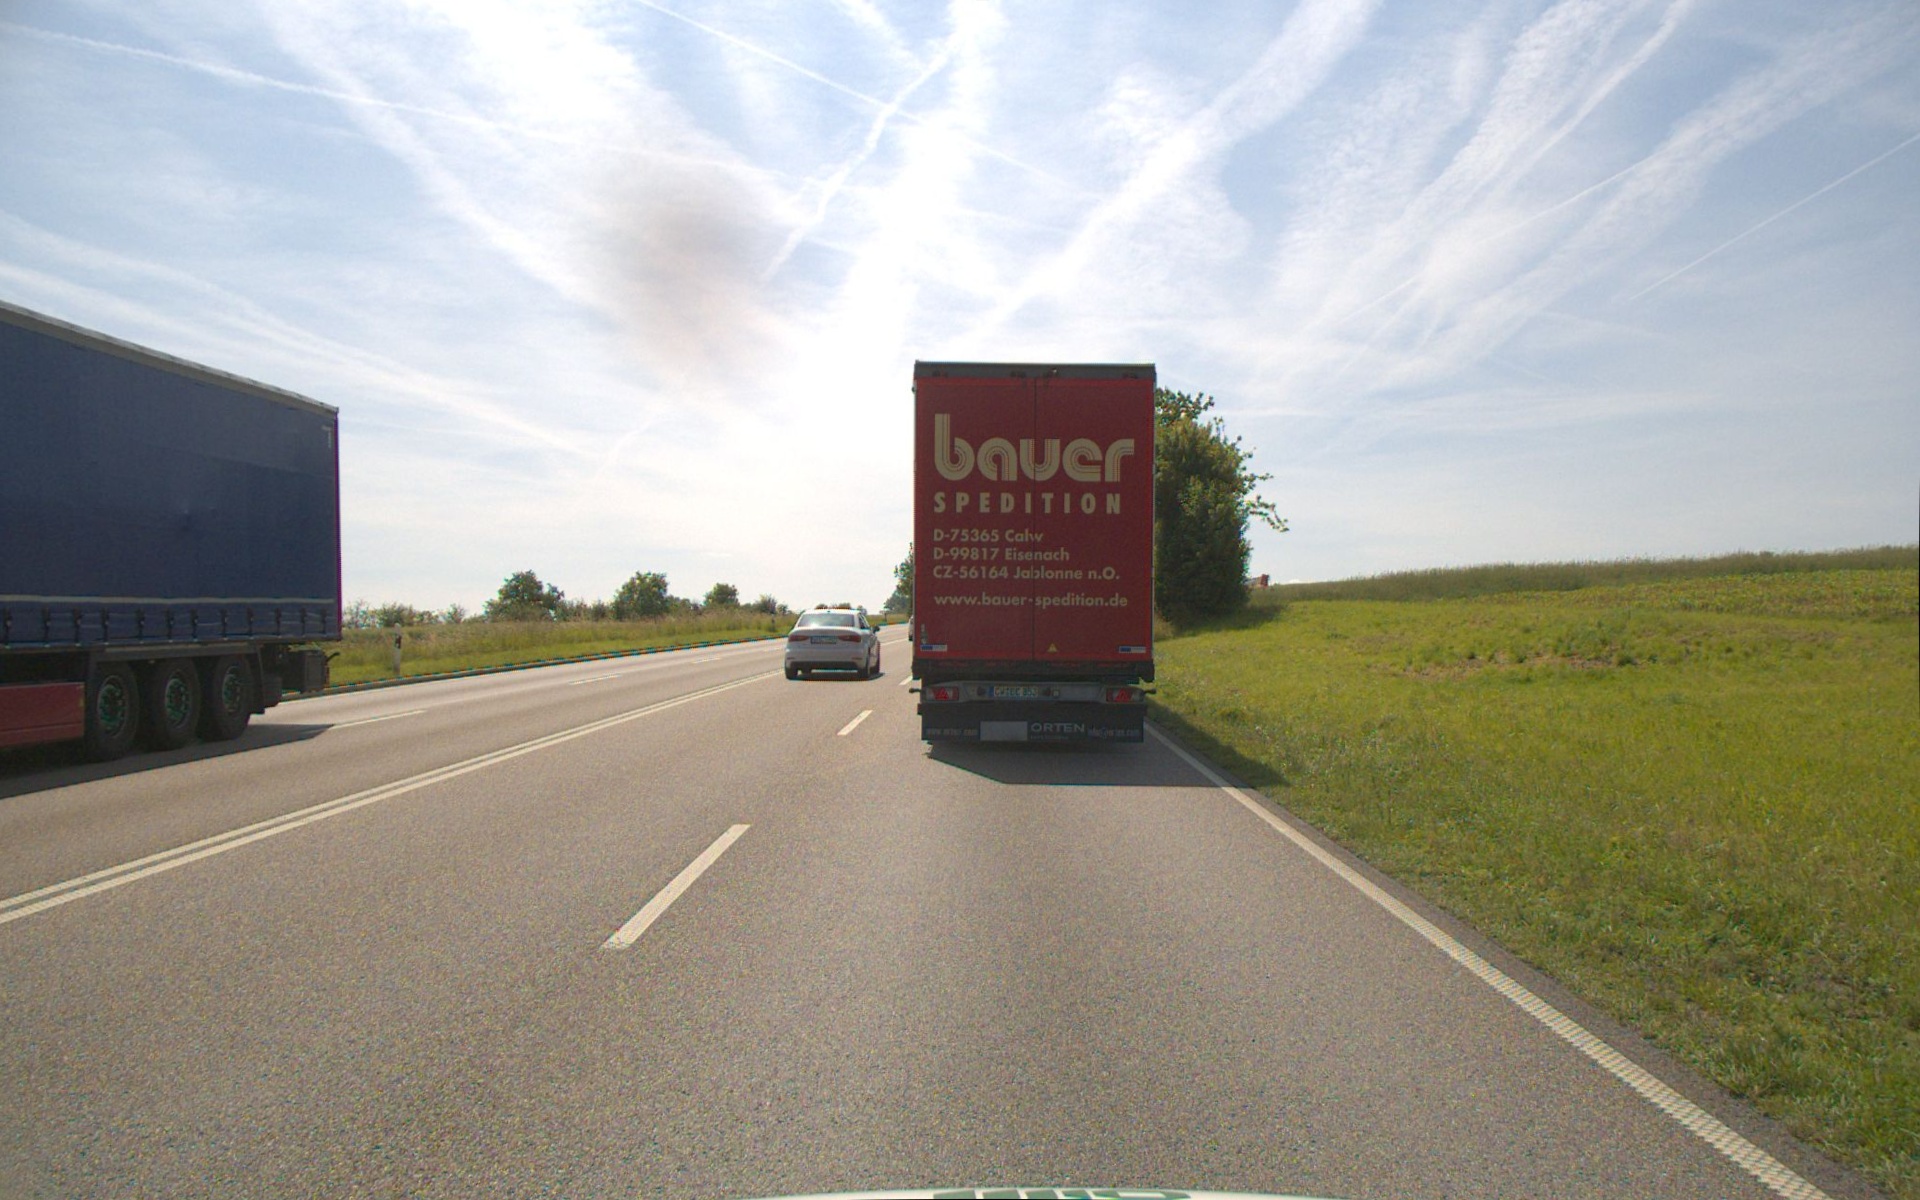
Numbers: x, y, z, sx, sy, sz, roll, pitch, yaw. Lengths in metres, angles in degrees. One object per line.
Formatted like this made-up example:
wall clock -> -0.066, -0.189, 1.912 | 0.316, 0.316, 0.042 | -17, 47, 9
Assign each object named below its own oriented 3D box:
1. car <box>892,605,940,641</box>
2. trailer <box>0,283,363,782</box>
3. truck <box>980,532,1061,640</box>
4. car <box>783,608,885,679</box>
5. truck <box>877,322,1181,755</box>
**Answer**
car -> -1.861, 0.973, 71.941 | 1.783, 1.498, 4.789 | 1, 0, 2
trailer -> -9.258, -0.548, 15.100 | 2.493, 4.173, 13.583 | -1, 0, 1
truck -> 2.593, -0.474, 68.697 | 2.983, 3.979, 15.620 | 0, 0, 3
car -> -2.628, 0.880, 35.335 | 1.668, 1.400, 4.604 | 1, 0, 2
truck -> 0.602, -0.550, 24.890 | 2.946, 4.253, 16.710 | 1, 0, -1
